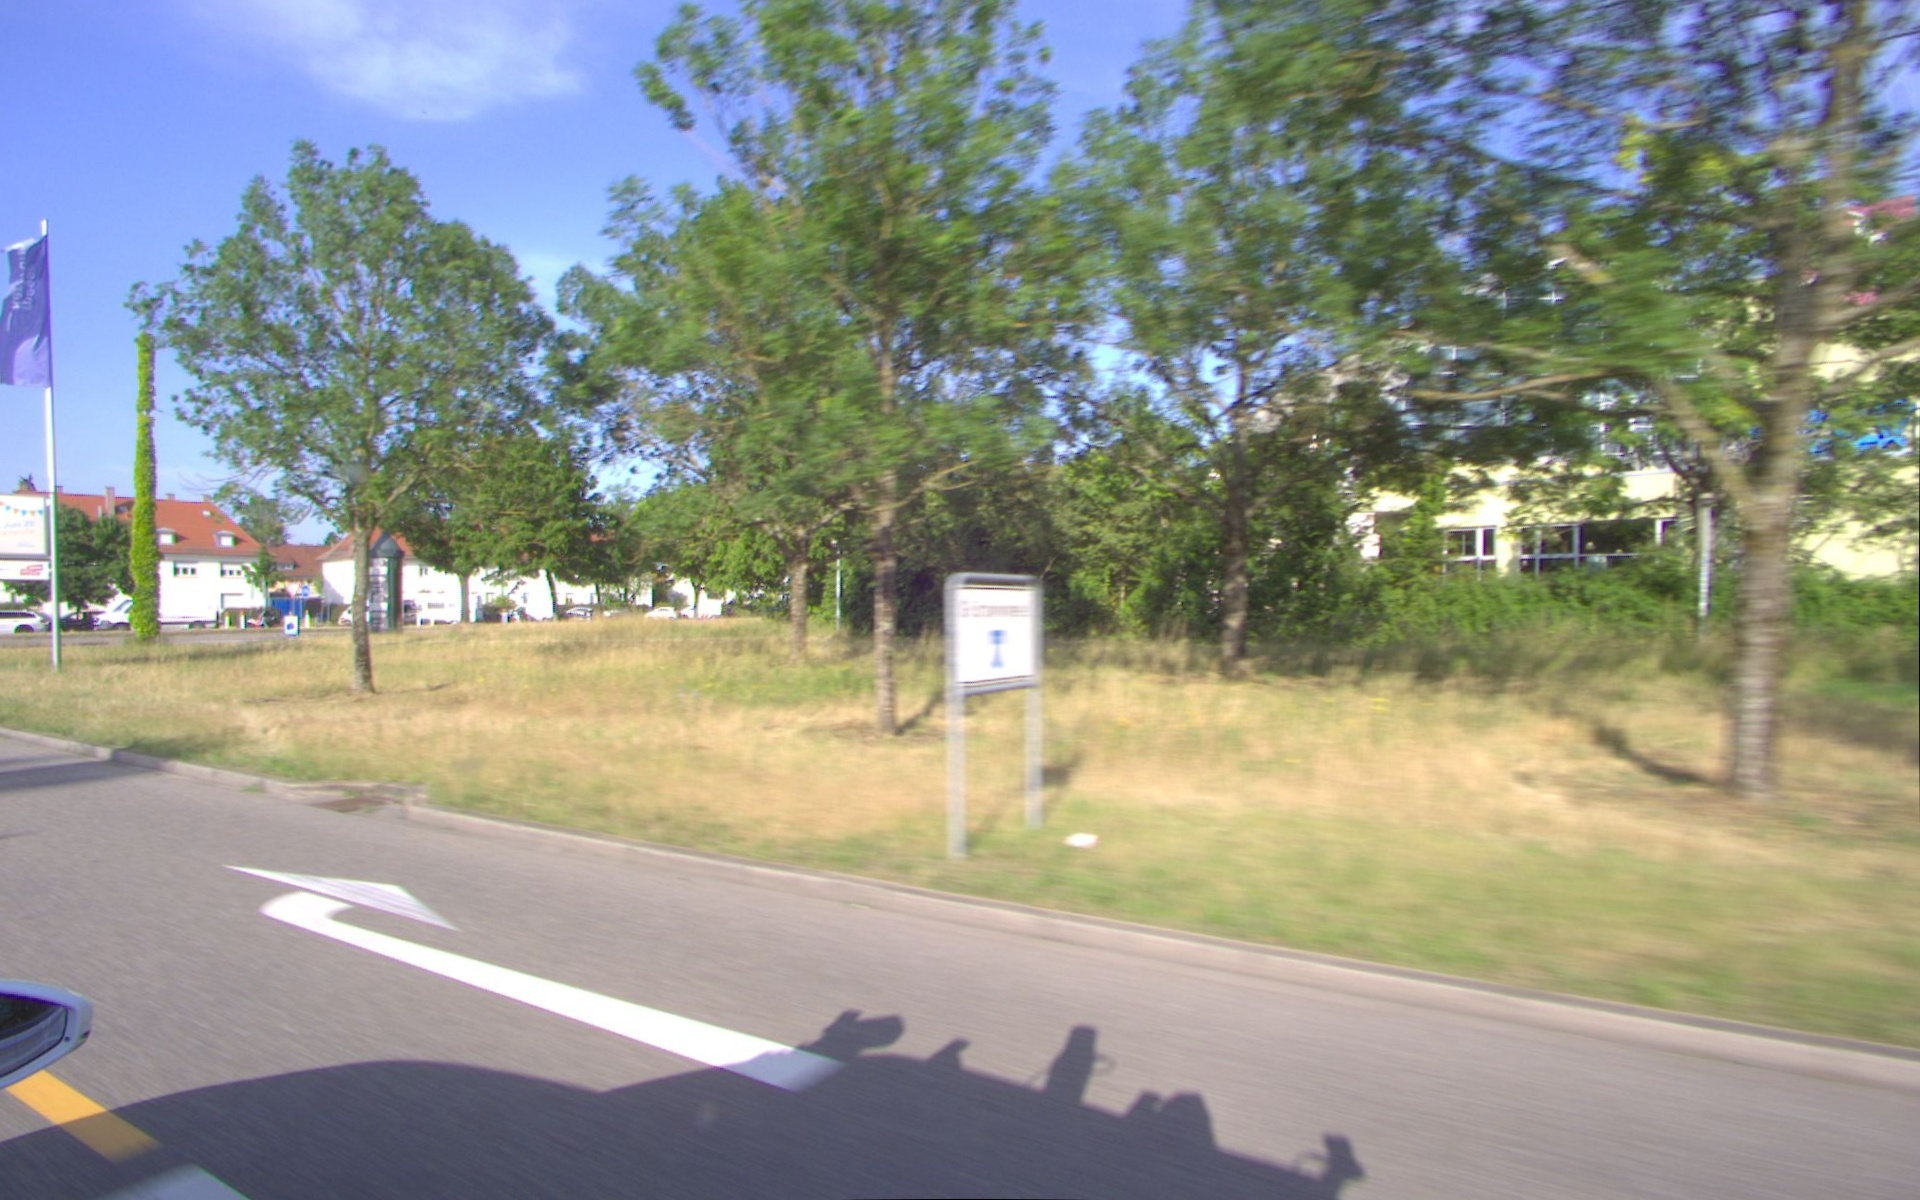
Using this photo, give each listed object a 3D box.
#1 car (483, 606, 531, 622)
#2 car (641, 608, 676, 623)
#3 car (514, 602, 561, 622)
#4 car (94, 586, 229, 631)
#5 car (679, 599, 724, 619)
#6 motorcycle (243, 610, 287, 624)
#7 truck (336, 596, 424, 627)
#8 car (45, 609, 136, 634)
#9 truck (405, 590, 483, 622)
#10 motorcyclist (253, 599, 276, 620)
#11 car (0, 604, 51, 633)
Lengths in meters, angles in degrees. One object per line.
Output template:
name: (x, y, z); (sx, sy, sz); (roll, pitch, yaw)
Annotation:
car: (-43.258, 1.349, 95.737); (3.837, 1.475, 1.894); (0, 0, -12)
car: (-32.880, 1.667, 109.361); (3.366, 1.534, 1.895); (0, 0, -5)
car: (-41.539, 1.186, 98.484); (3.835, 1.945, 1.895); (0, 0, -9)
car: (-48.624, 0.521, 61.152); (1.974, 2.617, 6.186); (0, 0, 37)
car: (-29.531, 1.019, 114.510); (4.885, 2.261, 1.999); (0, 0, -9)
motorcycle: (-44.941, 1.066, 64.742); (0.681, 0.878, 2.264); (0, 0, 36)
truck: (-49.428, 0.948, 85.475); (6.233, 2.557, 2.277); (1, 0, 2)
car: (-52.988, 1.278, 61.066); (1.694, 1.472, 3.972); (0, 0, 37)
truck: (-46.593, 0.533, 90.499); (5.964, 2.892, 1.895); (0, 0, -9)
motorcyclist: (-44.940, 0.626, 64.739); (0.671, 1.370, 1.062); (0, 0, 36)
car: (-53.270, 0.995, 54.760); (1.816, 1.583, 5.076); (0, 0, 37)
